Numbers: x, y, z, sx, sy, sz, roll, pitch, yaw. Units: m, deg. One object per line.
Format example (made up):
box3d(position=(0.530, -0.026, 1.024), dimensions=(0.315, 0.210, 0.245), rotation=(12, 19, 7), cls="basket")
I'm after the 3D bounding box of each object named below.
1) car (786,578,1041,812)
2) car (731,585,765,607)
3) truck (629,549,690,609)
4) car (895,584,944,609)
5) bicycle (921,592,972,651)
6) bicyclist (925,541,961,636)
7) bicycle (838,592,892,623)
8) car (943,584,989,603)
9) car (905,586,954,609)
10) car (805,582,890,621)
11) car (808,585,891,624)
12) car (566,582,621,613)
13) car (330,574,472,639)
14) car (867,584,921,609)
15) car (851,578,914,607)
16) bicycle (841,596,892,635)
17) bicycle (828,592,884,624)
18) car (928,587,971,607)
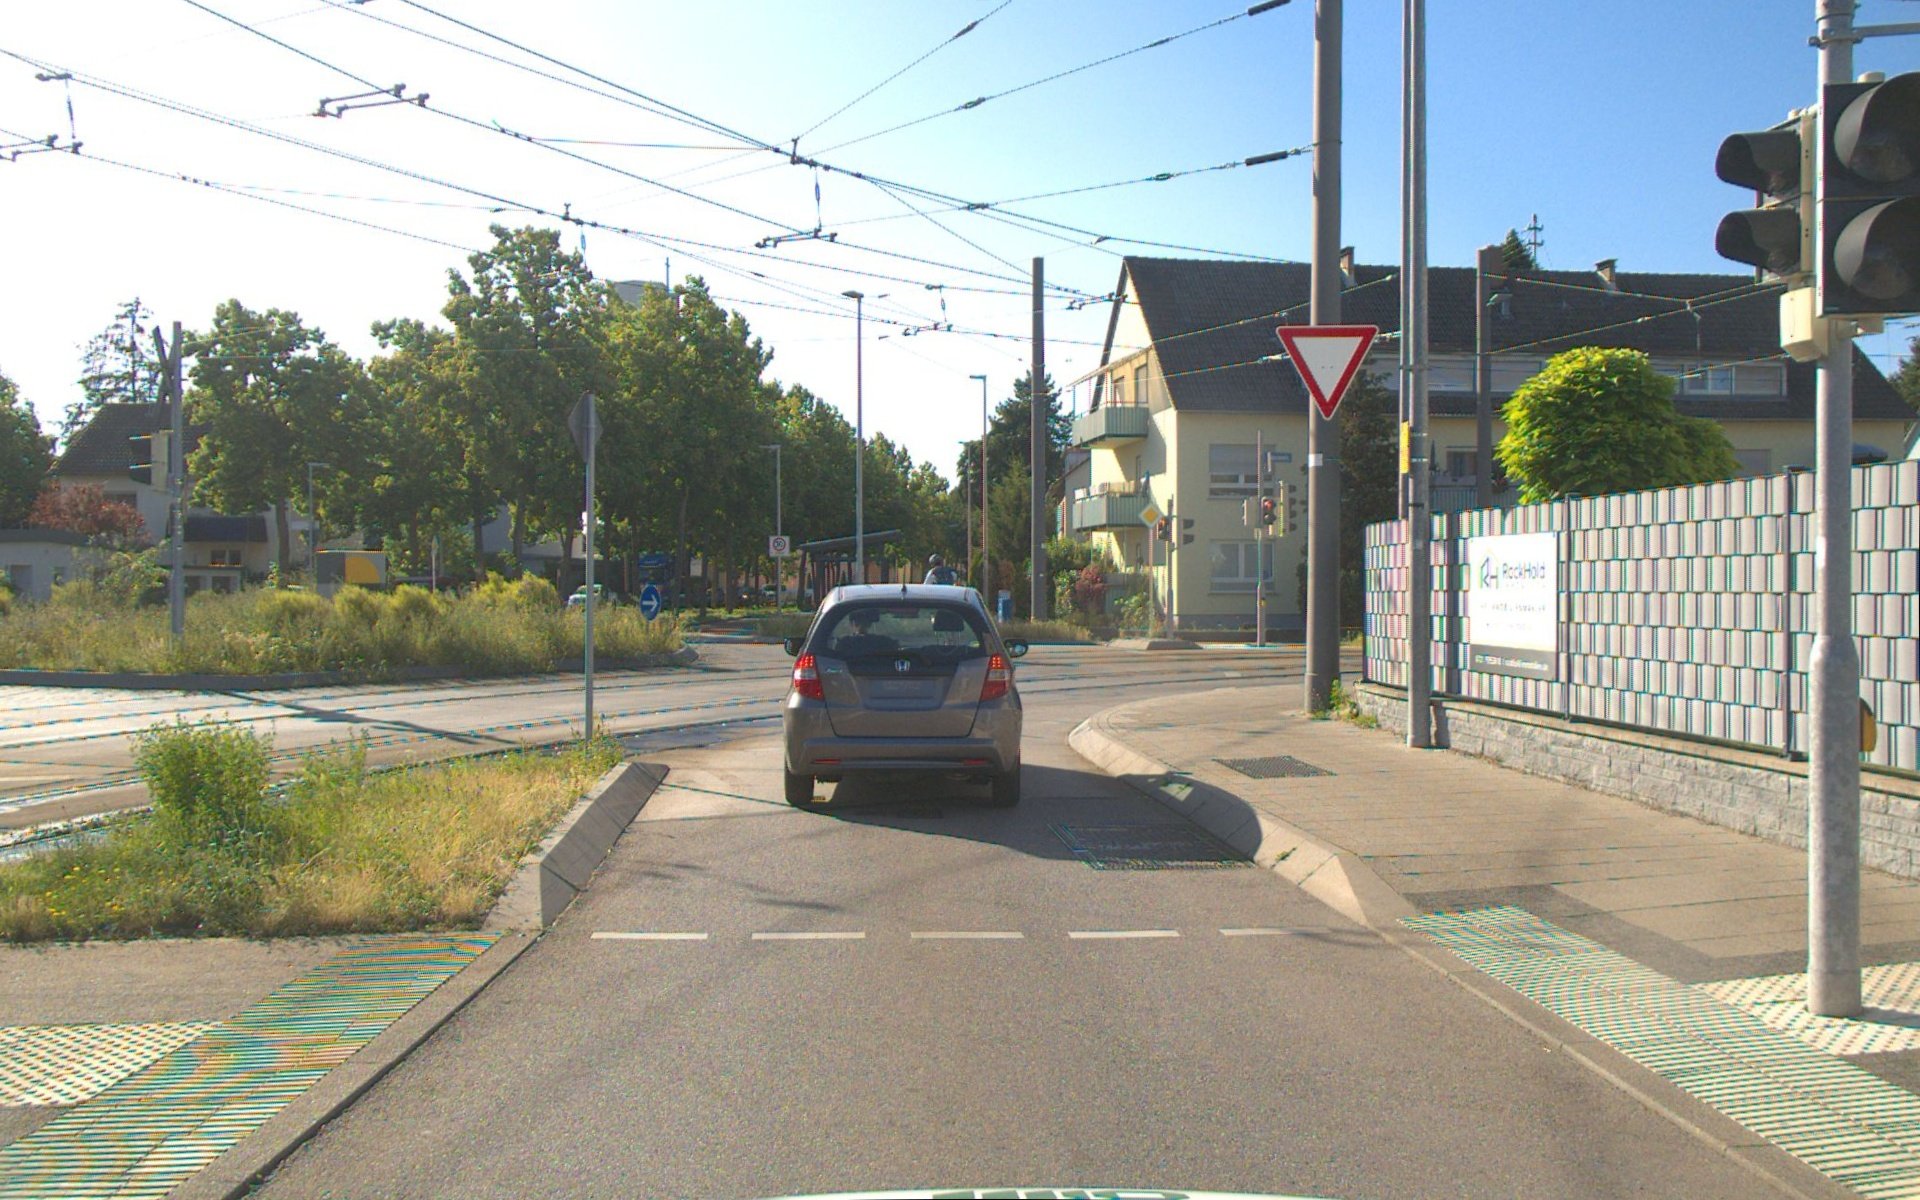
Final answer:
box3d(position=(-0.364, 0.595, 12.765), dimensions=(1.653, 1.517, 3.913), rotation=(1, 1, -2), cls="car")
box3d(position=(-16.021, -0.322, 125.254), dimensions=(1.792, 1.608, 4.442), rotation=(1, 0, 3), cls="car")
box3d(position=(-21.347, -1.480, 117.793), dimensions=(3.008, 4.062, 8.006), rotation=(1, 1, -2), cls="truck")
box3d(position=(-2.742, -0.231, 111.902), dimensions=(3.292, 1.560, 1.522), rotation=(1, 0, -2), cls="car")
box3d(position=(-0.260, 0.385, 30.439), dimensions=(0.752, 1.055, 1.532), rotation=(0, 1, -8), cls="bicycle")
box3d(position=(-0.312, -0.207, 30.693), dimensions=(0.591, 1.744, 0.543), rotation=(-1, -2, -6), cls="bicyclist")
box3d(position=(-3.277, 0.261, 57.058), dimensions=(1.805, 1.045, 0.688), rotation=(1, 0, -5), cls="bicycle")
box3d(position=(0.442, -0.501, 126.195), dimensions=(3.446, 1.301, 1.577), rotation=(1, 0, -2), cls="car")
box3d(position=(-2.156, -0.198, 116.660), dimensions=(3.409, 1.519, 1.552), rotation=(1, 0, -2), cls="car")
box3d(position=(-4.700, 0.069, 69.505), dimensions=(3.445, 1.560, 1.577), rotation=(1, 0, -1), cls="car")
box3d(position=(-4.741, 0.193, 71.280), dimensions=(3.445, 1.560, 1.577), rotation=(1, 0, -1), cls="car")
box3d(position=(-22.133, -0.154, 100.089), dimensions=(1.952, 1.803, 5.061), rotation=(1, 0, 2), cls="car")
box3d(position=(-18.634, 0.174, 55.419), dimensions=(1.951, 2.016, 5.243), rotation=(-2, 0, 14), cls="car")
box3d(position=(-4.229, -0.235, 106.153), dimensions=(3.341, 1.560, 1.525), rotation=(0, 1, 2), cls="car")
box3d(position=(-4.360, -0.429, 93.438), dimensions=(3.445, 1.560, 1.577), rotation=(1, 0, -1), cls="car")
box3d(position=(-3.079, 0.516, 54.271), dimensions=(1.633, 1.229, 0.688), rotation=(1, 0, -5), cls="bicycle")
box3d(position=(-3.641, 0.278, 57.934), dimensions=(1.934, 1.045, 0.695), rotation=(1, 0, -5), cls="bicycle")
box3d(position=(-0.883, -0.246, 136.098), dimensions=(3.446, 1.560, 1.577), rotation=(1, 0, -2), cls="car")
